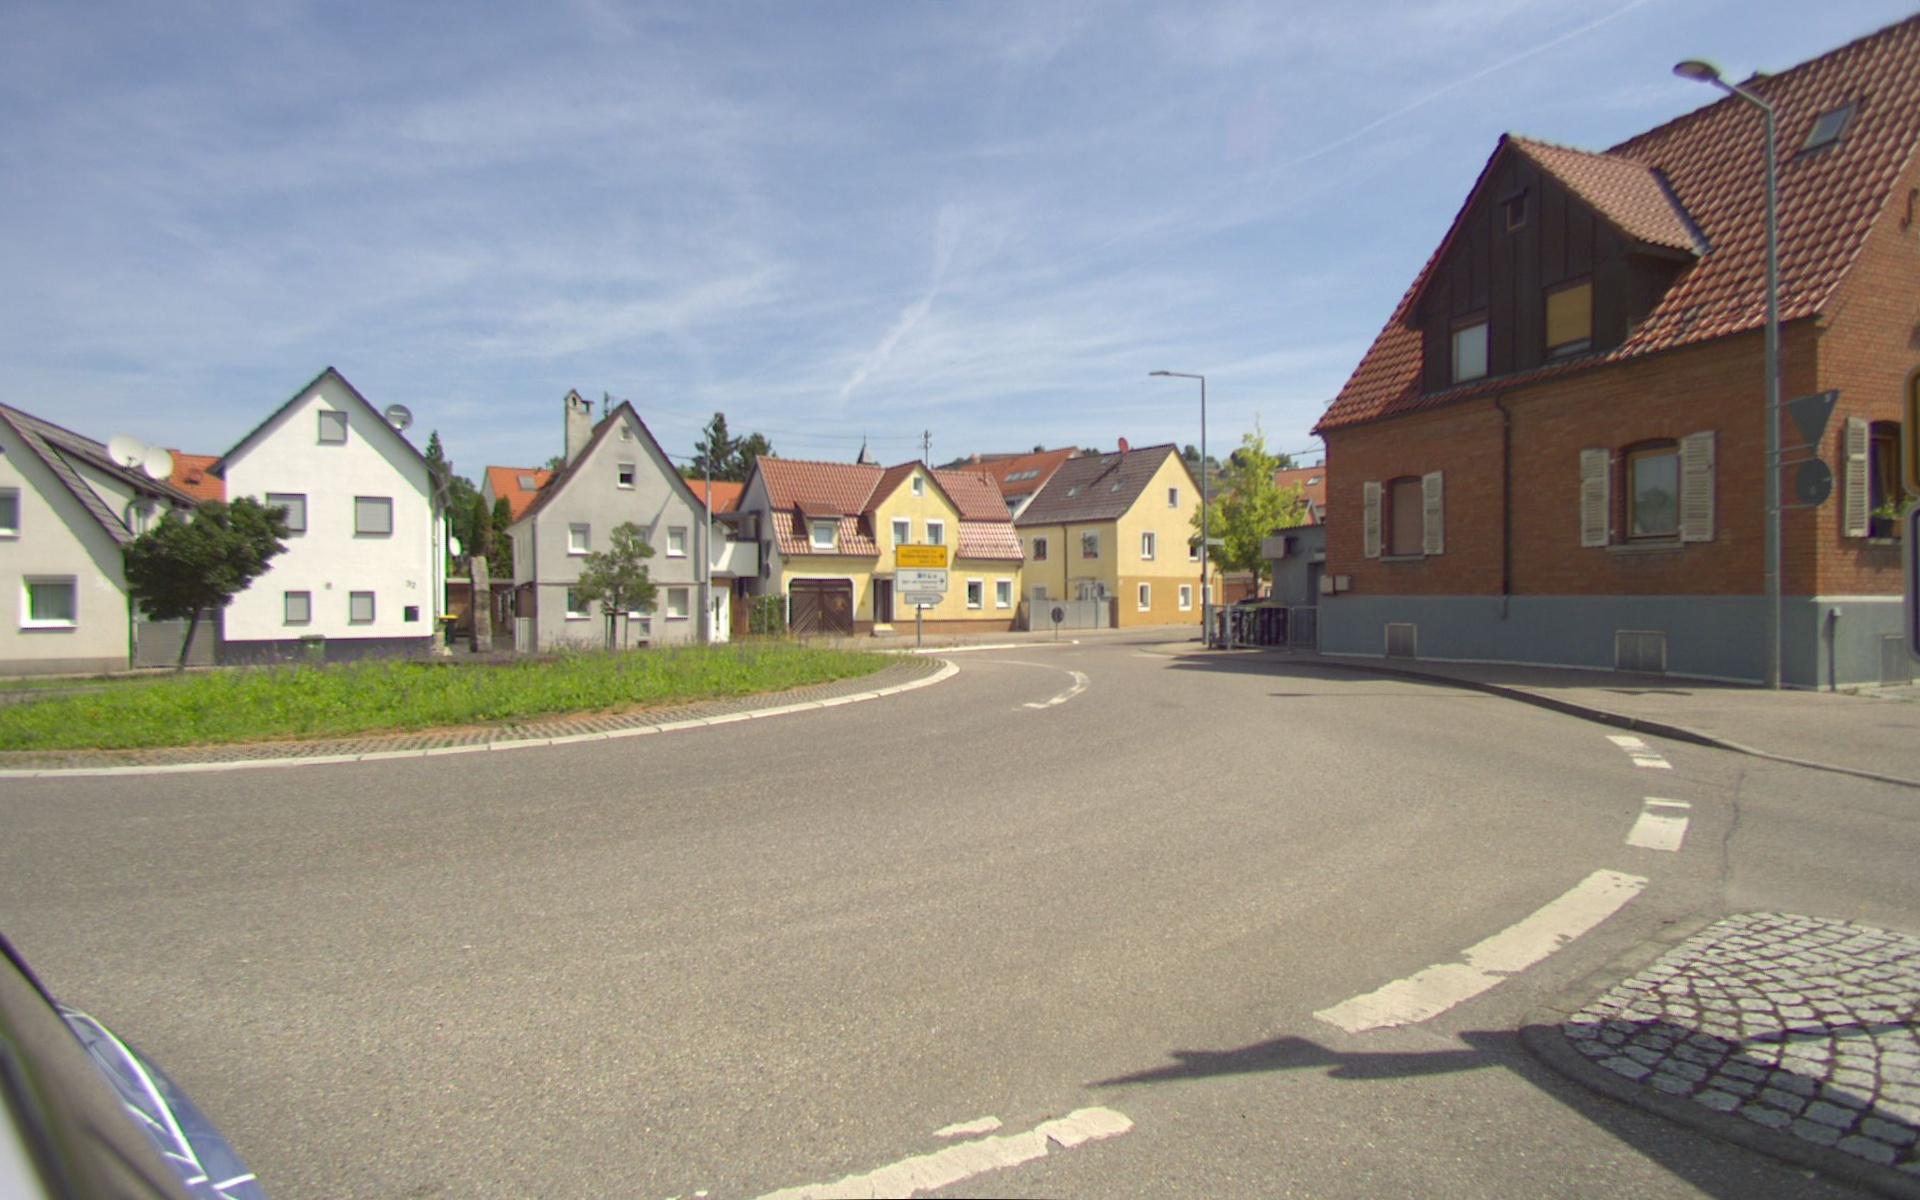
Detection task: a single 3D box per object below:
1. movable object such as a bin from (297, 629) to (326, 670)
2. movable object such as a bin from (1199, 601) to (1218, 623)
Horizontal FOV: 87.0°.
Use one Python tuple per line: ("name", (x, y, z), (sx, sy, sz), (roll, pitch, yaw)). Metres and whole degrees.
("movable object such as a bin", (-17.380, 1.316, 27.127), (0.570, 1.056, 0.905), (-1, -1, -37))
("movable object such as a bin", (12.547, 0.605, 51.116), (0.699, 1.060, 0.665), (-2, 0, 43))
